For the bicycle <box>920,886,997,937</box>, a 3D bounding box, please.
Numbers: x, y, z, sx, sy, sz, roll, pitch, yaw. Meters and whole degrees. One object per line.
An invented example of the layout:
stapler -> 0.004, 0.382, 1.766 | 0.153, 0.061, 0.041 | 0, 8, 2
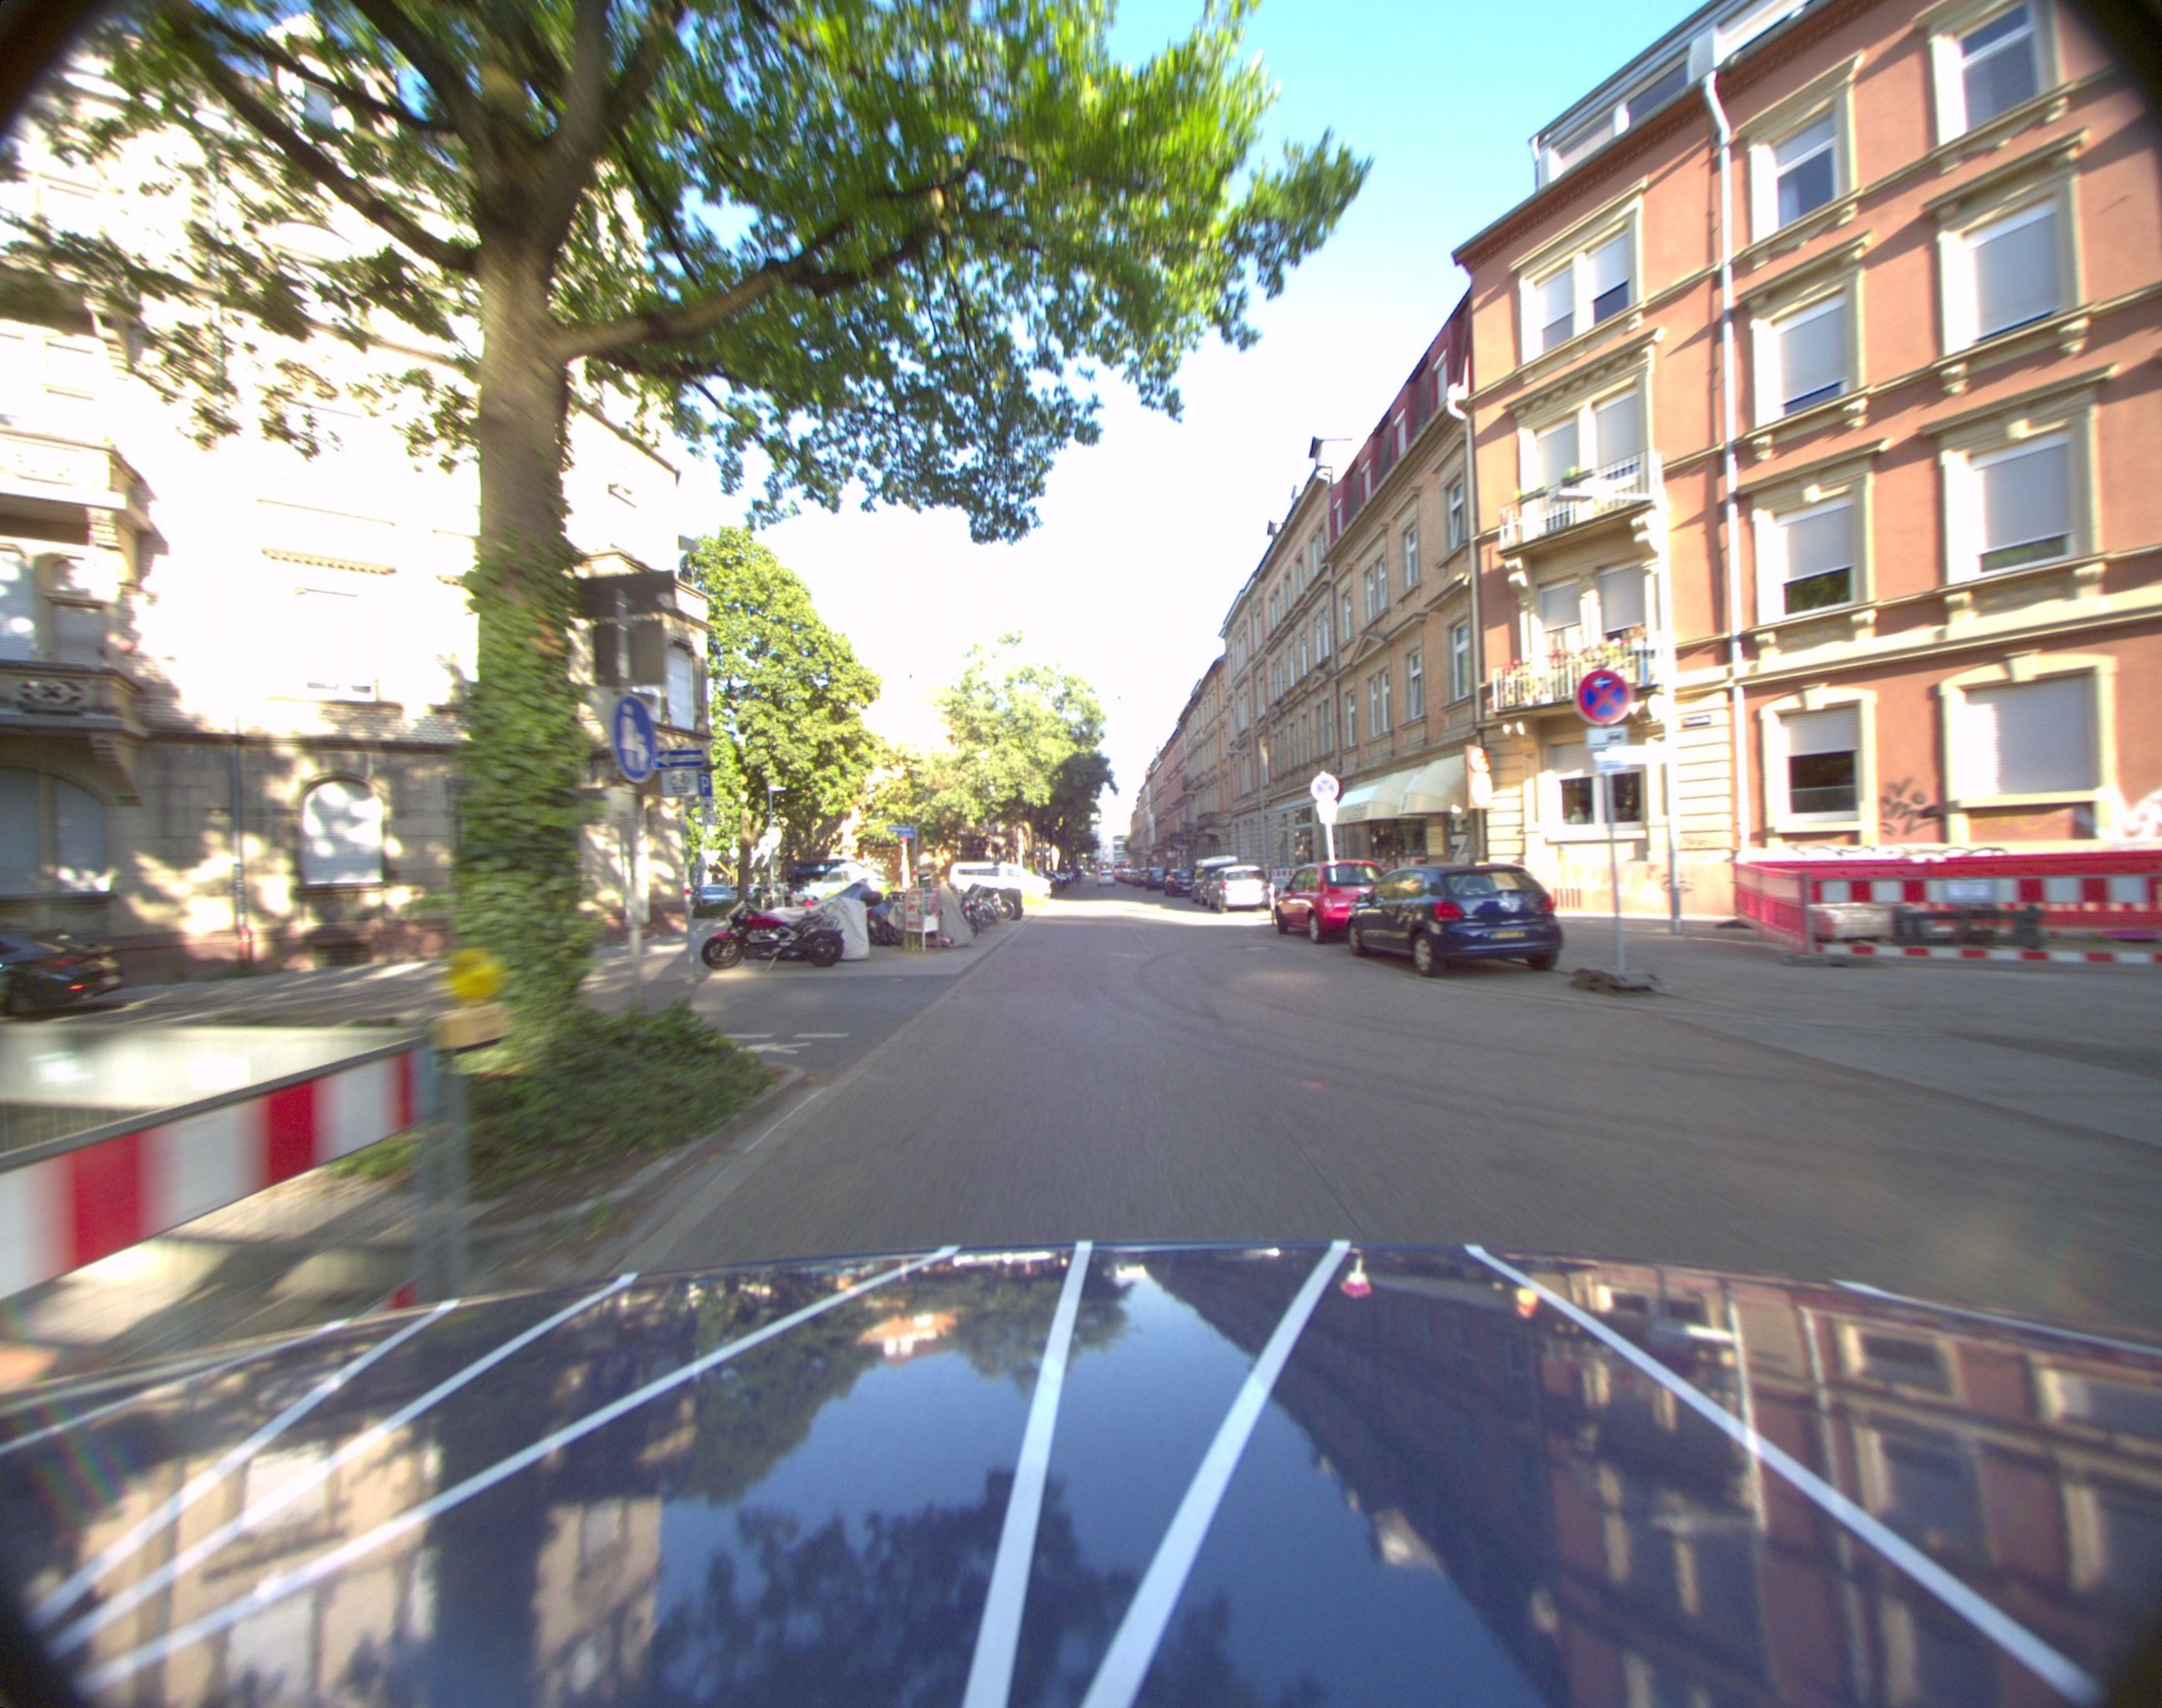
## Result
bicycle -> -3.195, 1.503, 19.949 | 1.930, 1.238, 0.303 | -2, 0, -5

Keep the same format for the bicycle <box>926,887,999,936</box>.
bicycle -> -3.266, 1.575, 21.003 | 1.930, 1.238, 0.303 | -2, 0, -5

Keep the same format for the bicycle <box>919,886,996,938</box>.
bicycle -> -3.177, 1.496, 19.606 | 1.911, 1.238, 0.303 | -2, -1, -5

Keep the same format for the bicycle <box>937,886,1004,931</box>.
bicycle -> -3.287, 1.618, 22.654 | 1.930, 1.238, 0.303 | -2, 0, -5

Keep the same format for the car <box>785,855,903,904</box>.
car -> -13.327, 1.427, 43.129 | 5.912, 2.522, 2.379 | -2, -1, -5

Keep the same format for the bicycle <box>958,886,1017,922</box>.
bicycle -> -2.977, 1.578, 24.224 | 1.822, 1.121, 0.443 | 0, 0, 0

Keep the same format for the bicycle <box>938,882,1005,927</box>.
bicycle -> -3.298, 1.520, 22.962 | 1.930, 1.238, 0.303 | -2, 0, -5

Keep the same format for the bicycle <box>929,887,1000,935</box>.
bicycle -> -3.263, 1.587, 21.350 | 1.930, 1.238, 0.303 | -2, 0, -5

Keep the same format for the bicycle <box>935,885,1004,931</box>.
bicycle -> -3.269, 1.579, 22.325 | 1.930, 1.238, 0.303 | -2, 0, -5

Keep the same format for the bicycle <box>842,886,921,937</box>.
bicycle -> -5.248, 1.511, 20.056 | 1.930, 1.238, 0.479 | -2, 0, -5

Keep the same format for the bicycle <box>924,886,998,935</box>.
bicycle -> -3.256, 1.534, 20.676 | 1.930, 1.238, 0.303 | -2, 0, -5

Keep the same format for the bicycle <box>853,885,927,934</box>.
bicycle -> -5.294, 1.535, 21.110 | 1.930, 1.238, 0.395 | -2, 0, -5

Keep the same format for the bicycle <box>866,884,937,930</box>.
bicycle -> -5.297, 1.564, 22.473 | 1.930, 1.238, 0.479 | -2, 0, -5

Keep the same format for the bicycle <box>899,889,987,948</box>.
bicycle -> -3.152, 1.472, 17.437 | 1.930, 1.238, 0.303 | -2, 0, -5

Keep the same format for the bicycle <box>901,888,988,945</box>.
bicycle -> -3.180, 1.455, 17.760 | 1.930, 1.238, 0.303 | -2, 0, -5

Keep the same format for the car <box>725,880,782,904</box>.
car -> -27.343, 3.124, 63.459 | 4.001, 1.710, 1.780 | -3, -1, -11

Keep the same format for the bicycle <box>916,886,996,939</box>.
bicycle -> -3.154, 1.472, 19.250 | 1.930, 1.238, 0.303 | -2, 0, -5

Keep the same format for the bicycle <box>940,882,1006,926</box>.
bicycle -> -3.315, 1.546, 23.462 | 1.930, 1.238, 0.648 | -2, 0, -5

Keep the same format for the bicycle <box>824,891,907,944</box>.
bicycle -> -5.521, 1.624, 19.518 | 1.930, 1.238, 0.479 | -2, 0, -5

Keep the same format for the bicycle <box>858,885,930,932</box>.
bicycle -> -5.367, 1.553, 21.887 | 1.930, 1.238, 0.479 | -2, 0, -5

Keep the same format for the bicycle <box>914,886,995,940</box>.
bicycle -> -3.130, 1.464, 18.913 | 1.930, 1.238, 0.303 | -2, 0, -5

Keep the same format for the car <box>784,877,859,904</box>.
car -> -16.320, 2.283, 47.881 | 4.066, 1.501, 1.863 | -2, -1, -3

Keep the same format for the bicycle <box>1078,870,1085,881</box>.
bicycle -> 0.052, 2.379, 84.613 | 0.712, 1.252, 1.888 | -1, -1, 1

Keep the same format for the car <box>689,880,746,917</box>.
car -> -17.451, 2.069, 36.388 | 1.784, 1.601, 4.208 | -1, -1, -35

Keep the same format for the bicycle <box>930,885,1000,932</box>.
bicycle -> -3.299, 1.552, 21.674 | 1.930, 1.238, 0.303 | -2, 0, -5

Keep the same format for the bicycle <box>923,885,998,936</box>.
bicycle -> -3.214, 1.503, 20.341 | 1.930, 1.238, 0.303 | -2, 0, -5

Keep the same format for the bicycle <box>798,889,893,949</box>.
bicycle -> -5.252, 1.447, 17.016 | 1.930, 1.238, 0.452 | -2, 0, -5

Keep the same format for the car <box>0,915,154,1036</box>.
car -> -16.396, 1.845, 10.327 | 4.372, 1.370, 1.994 | -5, 5, -37

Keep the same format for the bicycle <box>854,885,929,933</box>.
bicycle -> -5.312, 1.541, 21.375 | 1.930, 1.238, 0.479 | -2, 0, -5

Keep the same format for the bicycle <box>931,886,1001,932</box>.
bicycle -> -3.328, 1.589, 22.010 | 1.930, 1.238, 0.303 | -2, 0, -5

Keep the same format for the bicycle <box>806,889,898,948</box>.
bicycle -> -5.268, 1.474, 17.528 | 1.930, 1.238, 0.479 | -2, 0, -5

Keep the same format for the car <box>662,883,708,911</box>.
car -> -24.692, 2.631, 47.287 | 1.871, 1.572, 4.234 | -2, -1, -37
